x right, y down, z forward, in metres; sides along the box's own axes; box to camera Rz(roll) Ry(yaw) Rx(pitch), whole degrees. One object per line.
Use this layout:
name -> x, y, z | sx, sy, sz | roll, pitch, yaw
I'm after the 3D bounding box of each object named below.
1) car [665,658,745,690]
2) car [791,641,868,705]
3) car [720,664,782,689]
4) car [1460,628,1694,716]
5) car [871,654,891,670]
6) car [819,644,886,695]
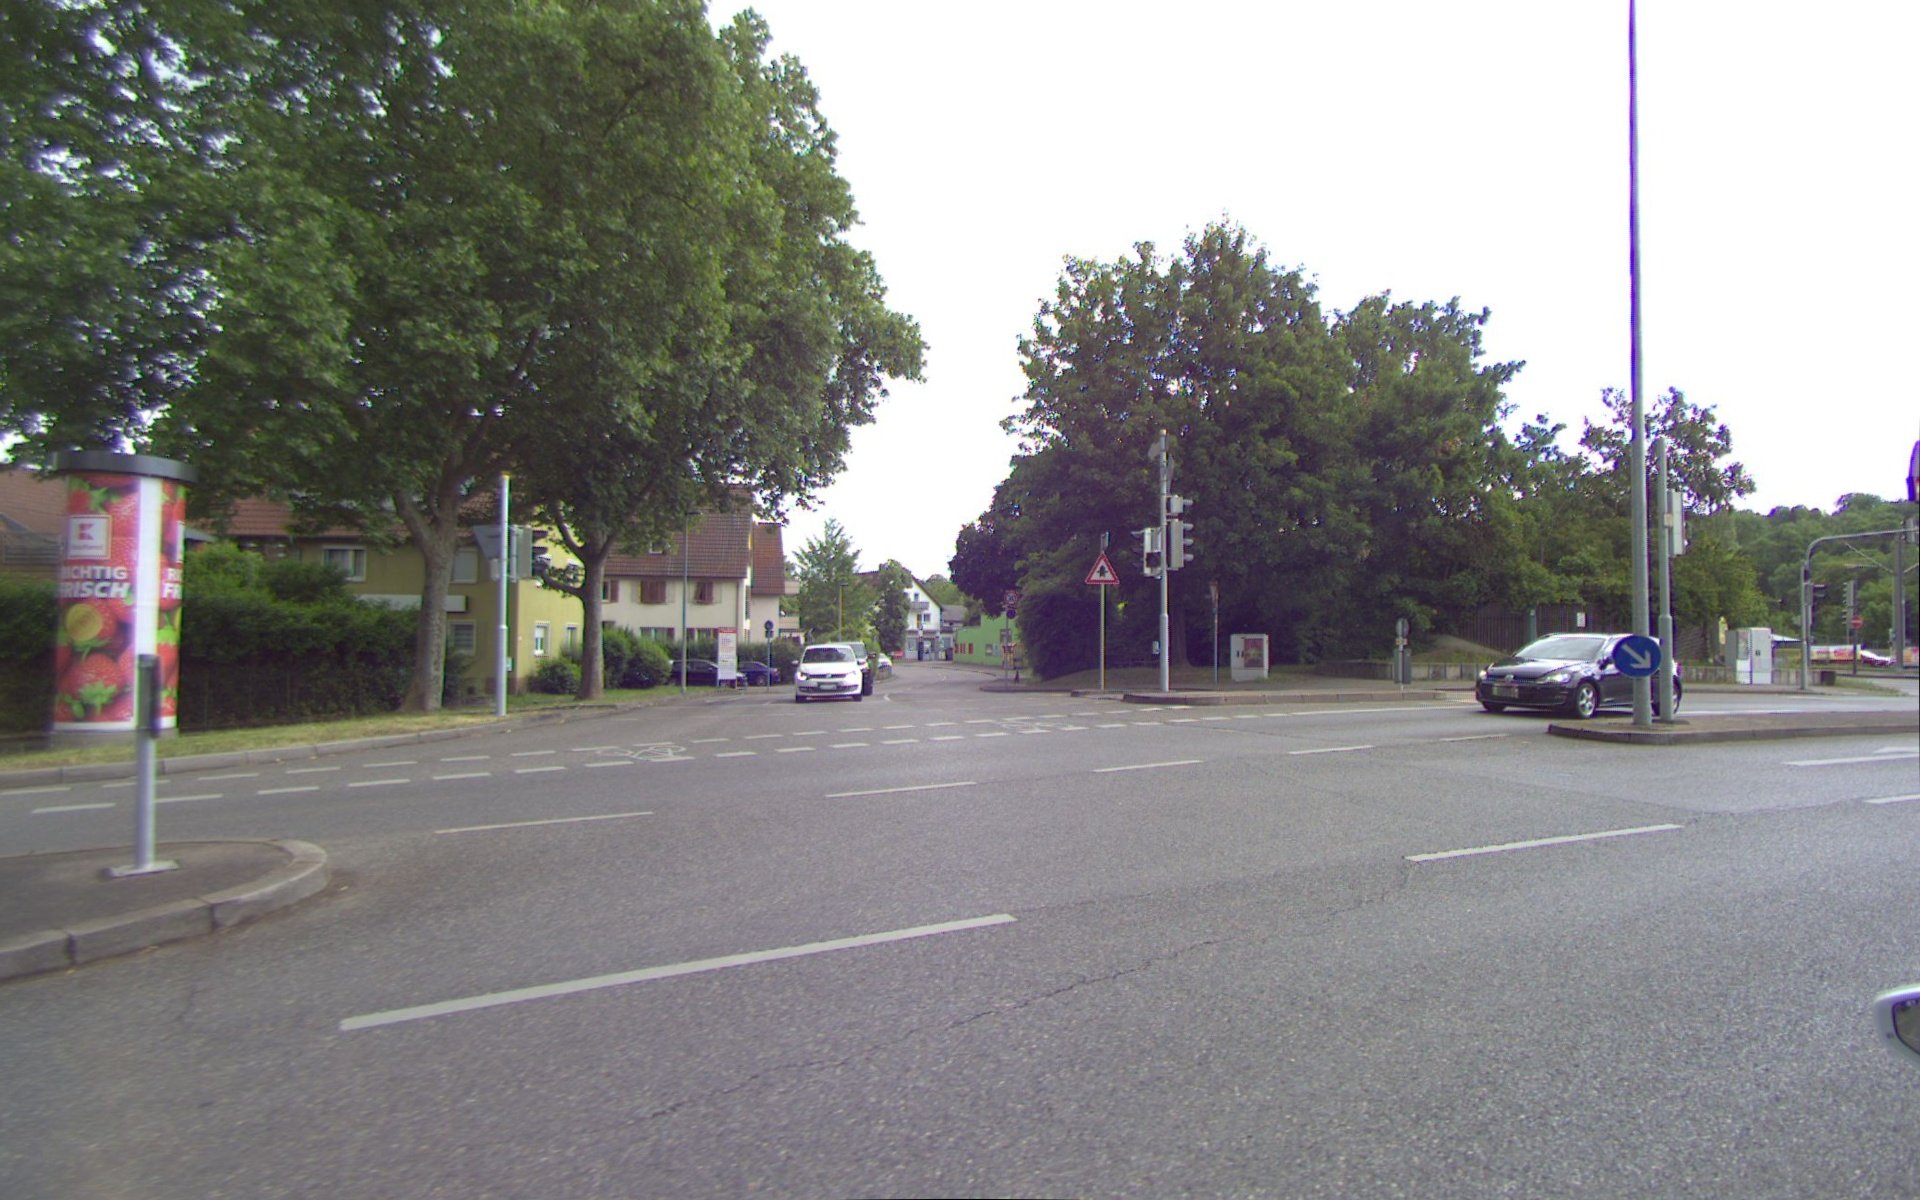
car -> -12.916, 3.748, 51.030 | 3.661, 1.584, 1.763 | 1, -2, -4
car -> -3.295, 1.798, 25.654 | 1.792, 1.499, 3.852 | 0, -2, -7
car -> -12.170, 4.443, 58.658 | 3.377, 1.427, 1.545 | 1, -2, -8
car -> 10.974, 1.228, 17.800 | 4.258, 1.384, 1.670 | 2, -2, -29
car -> -8.288, 6.437, 104.766 | 1.732, 1.637, 3.757 | 1, -2, -10
car -> -3.544, 2.324, 33.934 | 1.961, 1.566, 4.270 | 1, -3, -3
